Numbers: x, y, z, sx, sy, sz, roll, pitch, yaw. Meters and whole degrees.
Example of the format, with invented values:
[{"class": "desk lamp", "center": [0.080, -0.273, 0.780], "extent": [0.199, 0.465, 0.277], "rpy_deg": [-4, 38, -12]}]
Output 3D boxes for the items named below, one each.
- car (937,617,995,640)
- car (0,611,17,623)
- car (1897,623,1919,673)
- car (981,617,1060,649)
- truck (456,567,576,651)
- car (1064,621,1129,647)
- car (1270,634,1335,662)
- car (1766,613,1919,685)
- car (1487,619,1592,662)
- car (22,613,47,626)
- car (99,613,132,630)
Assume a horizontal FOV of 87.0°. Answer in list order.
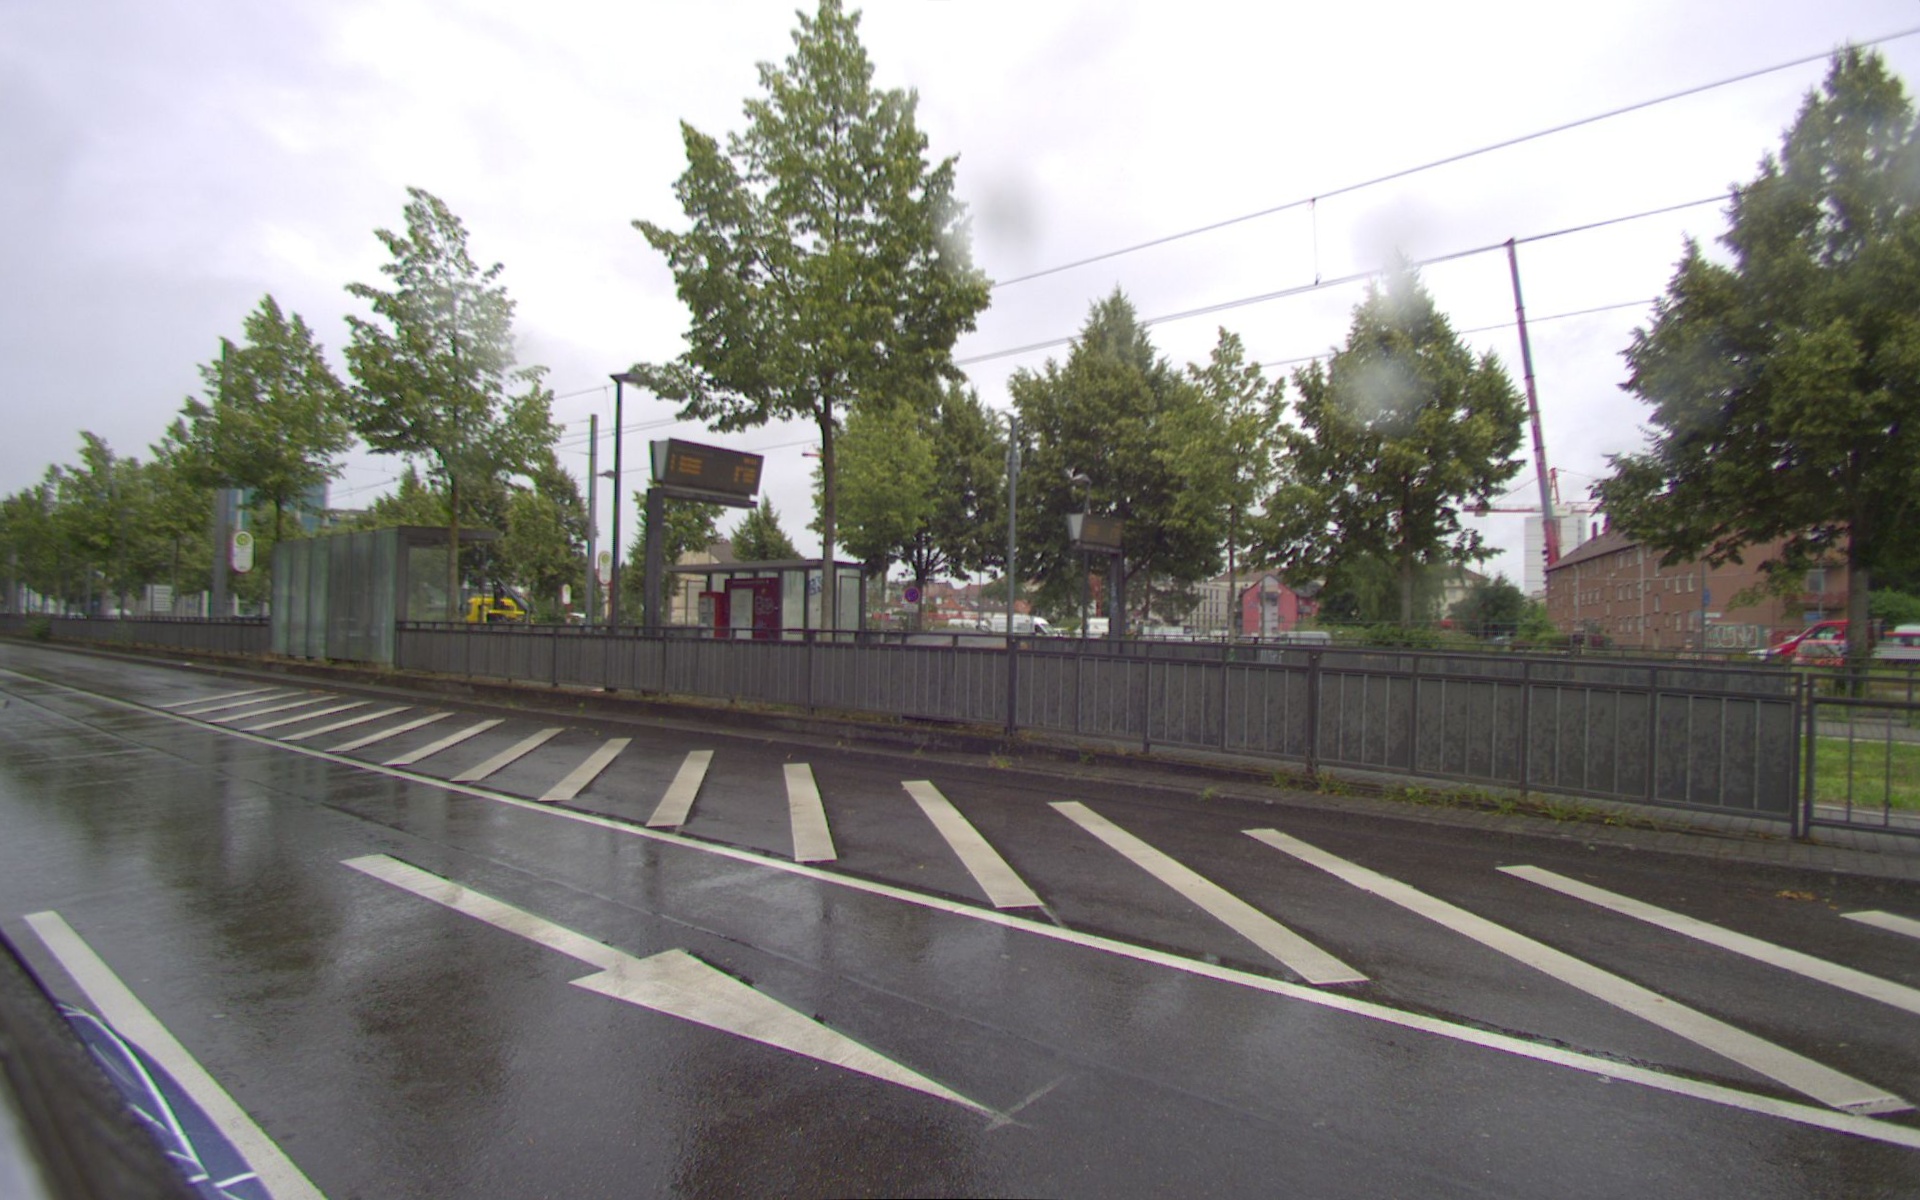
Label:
[{"class": "car", "center": [0.597, 2.986, 108.320], "extent": [6.123, 2.323, 1.978], "rpy_deg": [0, 0, 32]}, {"class": "car", "center": [-152.834, 2.724, 162.171], "extent": [3.995, 1.759, 1.974], "rpy_deg": [0, 0, 38]}, {"class": "car", "center": [45.949, 2.156, 44.952], "extent": [1.597, 2.296, 6.114], "rpy_deg": [2, -3, -37]}, {"class": "car", "center": [5.111, 2.777, 86.014], "extent": [6.735, 2.480, 1.975], "rpy_deg": [0, 0, 37]}, {"class": "truck", "center": [-22.319, 0.393, 50.571], "extent": [2.655, 3.806, 9.193], "rpy_deg": [-1, 0, -43]}, {"class": "car", "center": [11.915, 2.929, 88.736], "extent": [5.411, 2.067, 1.976], "rpy_deg": [0, 0, 37]}, {"class": "car", "center": [26.325, 3.666, 77.900], "extent": [4.415, 1.891, 1.855], "rpy_deg": [0, 0, 34]}, {"class": "car", "center": [33.482, 1.756, 36.644], "extent": [1.597, 2.489, 6.500], "rpy_deg": [2, -2, -39]}, {"class": "car", "center": [35.776, 2.437, 62.553], "extent": [5.482, 2.471, 1.976], "rpy_deg": [0, 0, 36]}, {"class": "car", "center": [-130.826, 2.725, 143.089], "extent": [3.995, 1.759, 1.974], "rpy_deg": [0, 0, 38]}, {"class": "car", "center": [-93.869, 2.396, 112.463], "extent": [3.995, 1.759, 1.974], "rpy_deg": [0, 0, 38]}]
